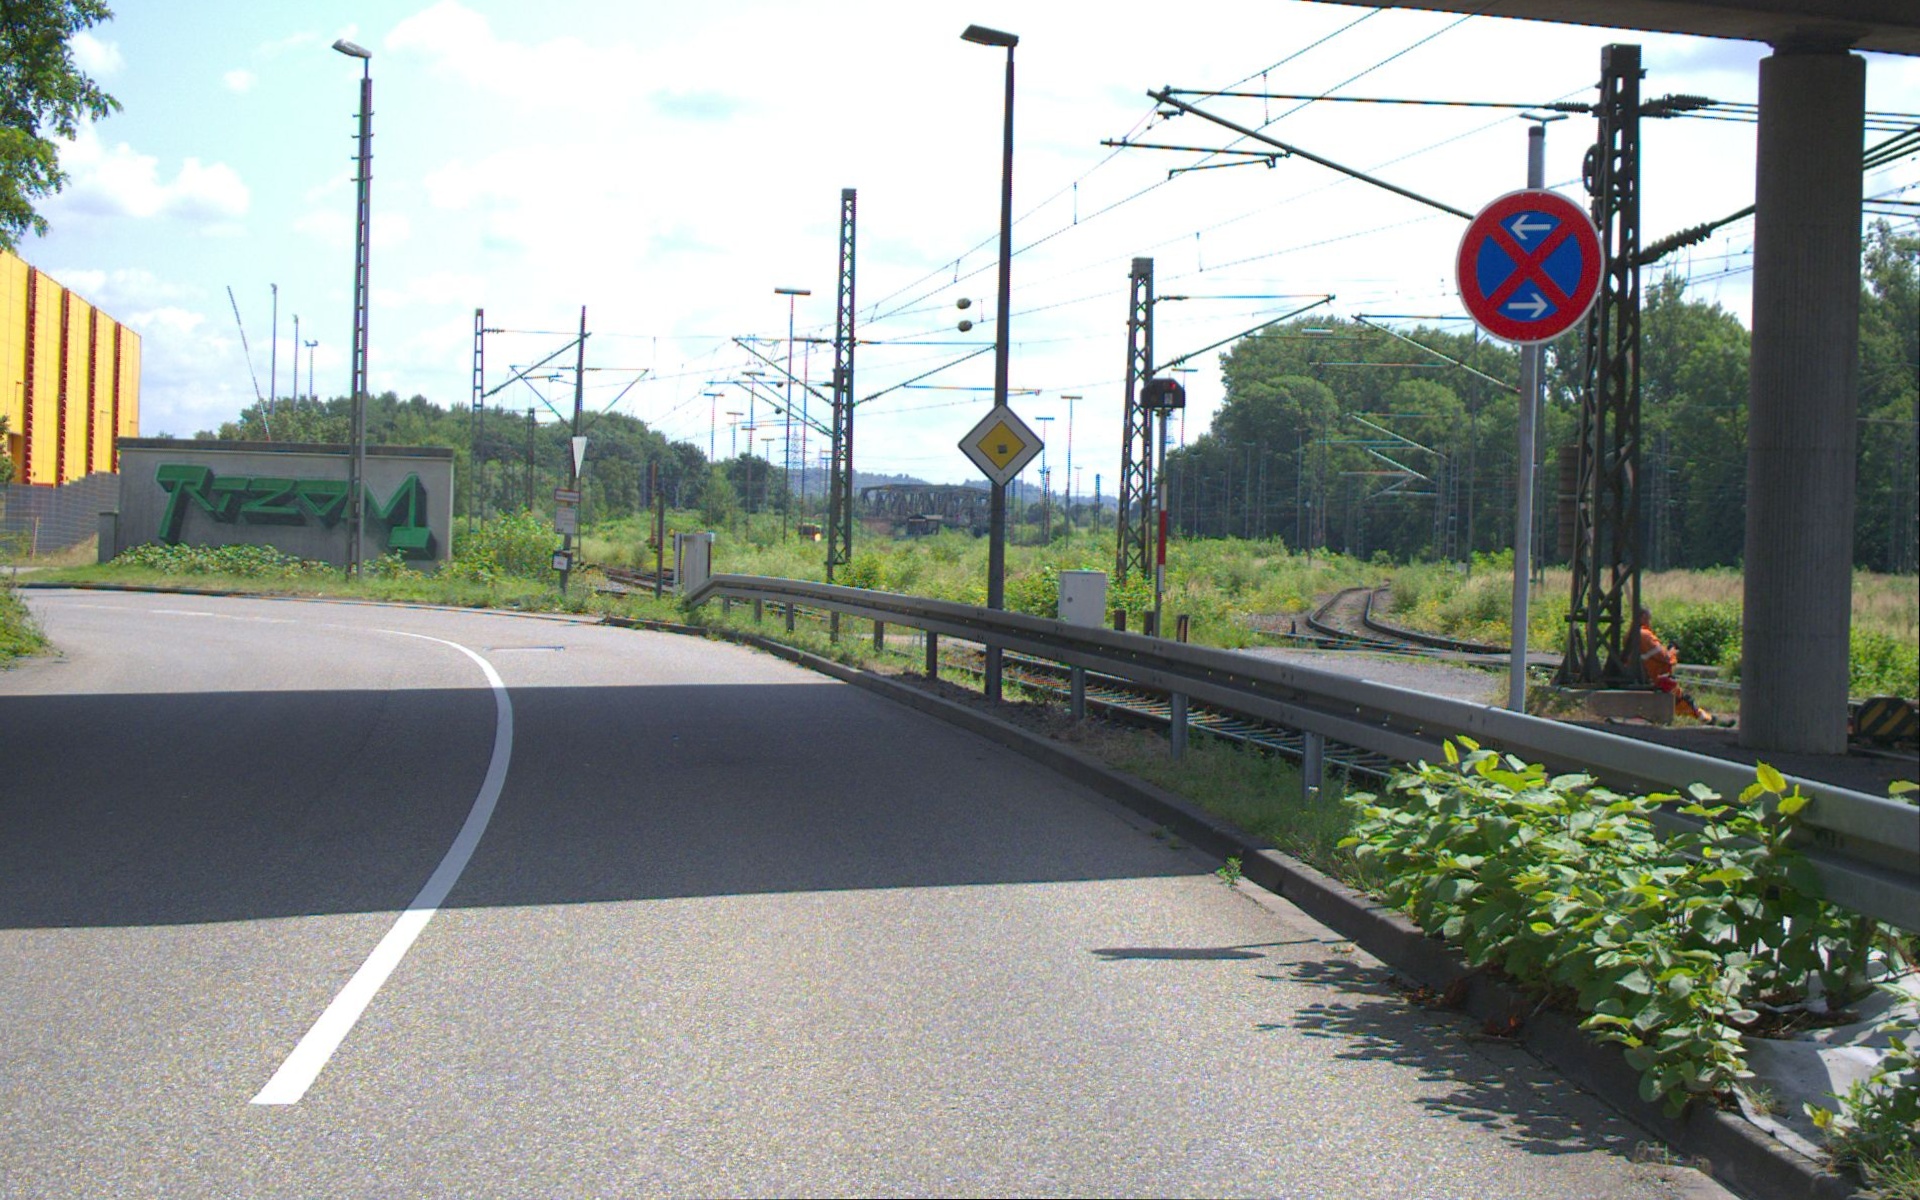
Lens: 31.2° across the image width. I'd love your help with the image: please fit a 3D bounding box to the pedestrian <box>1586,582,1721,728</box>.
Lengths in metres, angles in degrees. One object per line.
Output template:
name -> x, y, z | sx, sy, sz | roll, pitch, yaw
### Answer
pedestrian -> 7.627, 0.591, 37.906 | 1.110, 1.534, 1.579 | 1, 1, -1
